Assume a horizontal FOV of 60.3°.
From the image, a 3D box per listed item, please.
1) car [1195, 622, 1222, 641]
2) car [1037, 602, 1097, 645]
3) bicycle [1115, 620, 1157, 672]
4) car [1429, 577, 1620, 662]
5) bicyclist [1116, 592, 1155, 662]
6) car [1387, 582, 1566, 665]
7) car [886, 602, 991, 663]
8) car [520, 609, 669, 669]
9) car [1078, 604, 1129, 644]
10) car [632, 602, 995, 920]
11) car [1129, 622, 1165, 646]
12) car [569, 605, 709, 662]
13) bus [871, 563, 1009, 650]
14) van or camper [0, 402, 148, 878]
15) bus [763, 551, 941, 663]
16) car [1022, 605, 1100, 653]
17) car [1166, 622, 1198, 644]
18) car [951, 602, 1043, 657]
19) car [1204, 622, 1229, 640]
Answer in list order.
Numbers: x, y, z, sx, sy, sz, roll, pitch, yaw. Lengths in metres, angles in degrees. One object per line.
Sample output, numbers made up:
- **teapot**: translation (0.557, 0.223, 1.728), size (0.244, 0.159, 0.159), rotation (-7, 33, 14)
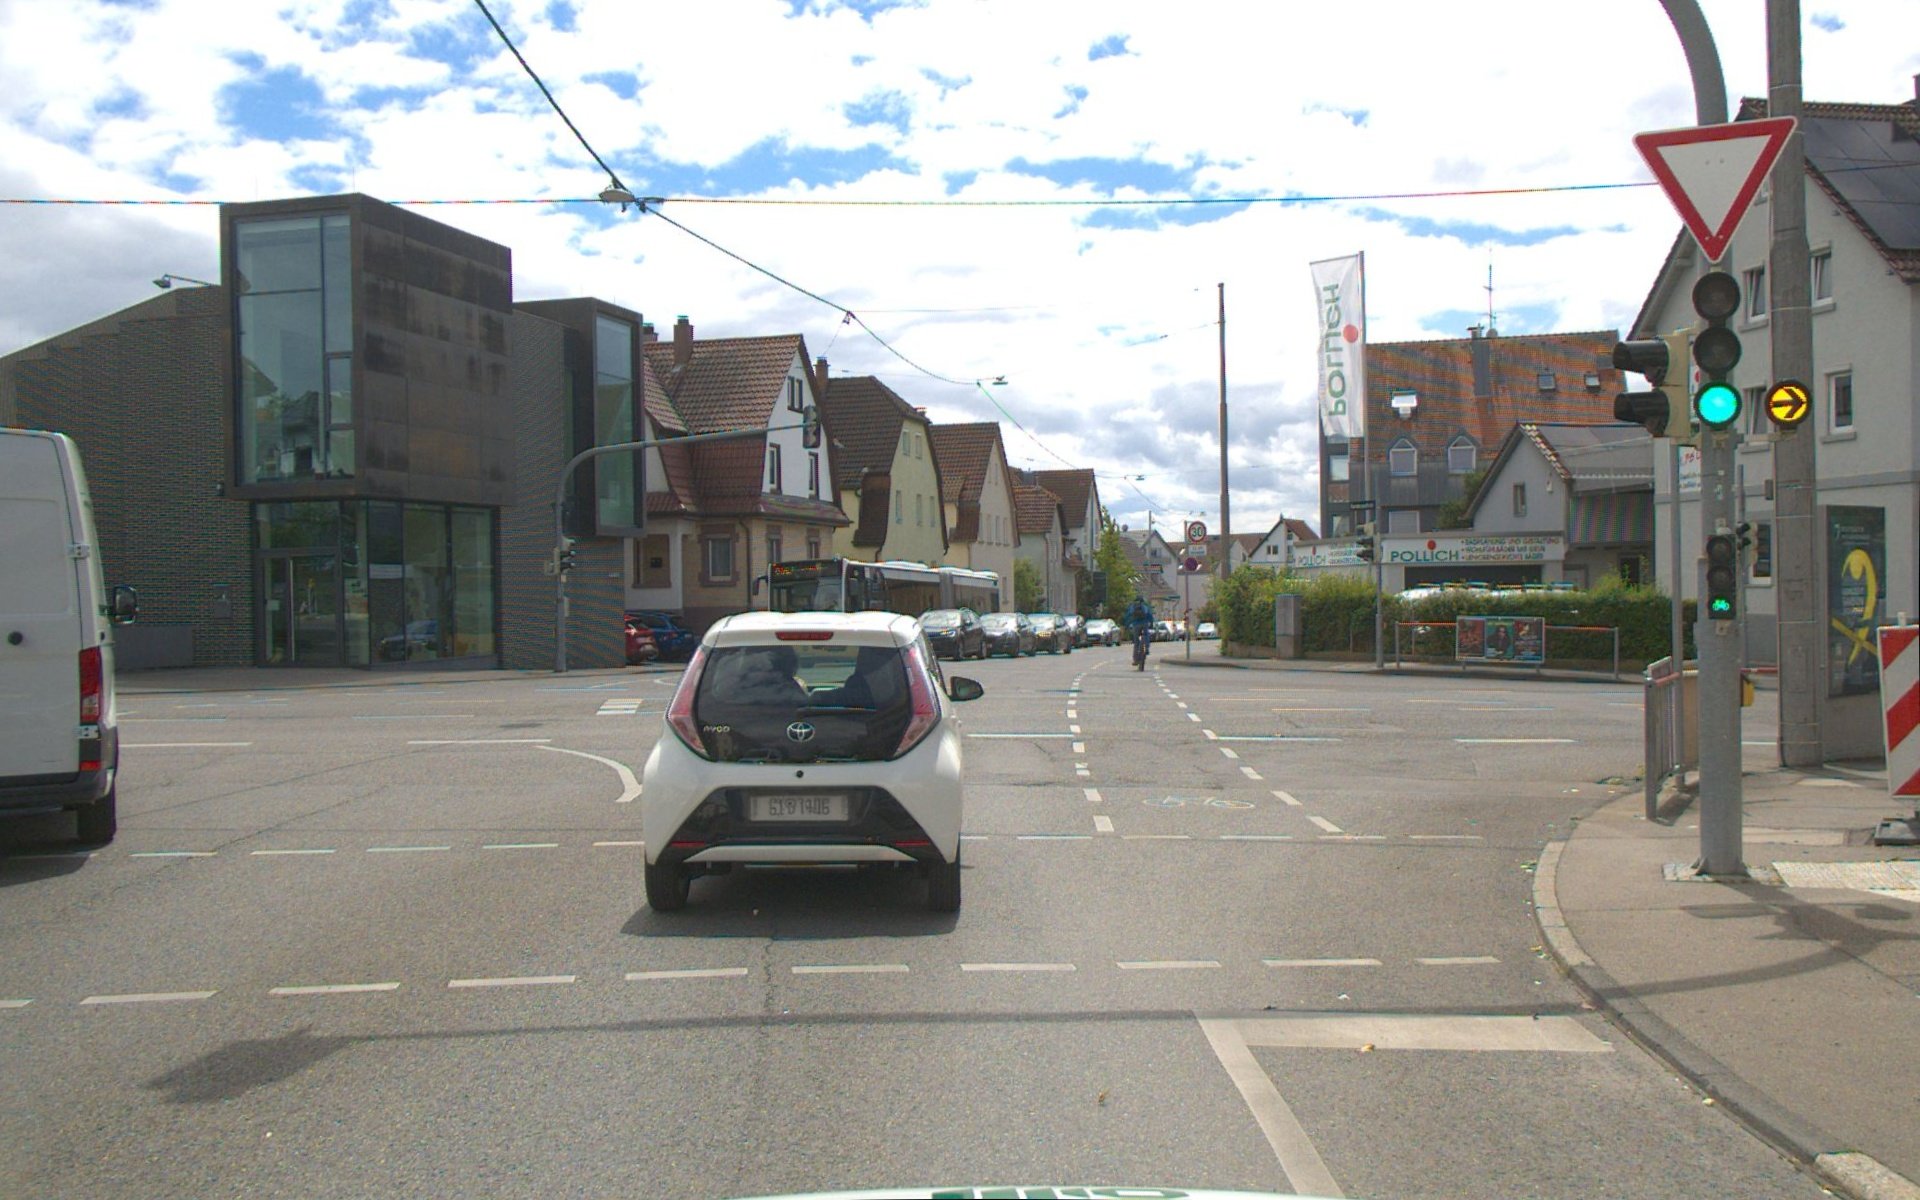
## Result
- **car**: translation (23.366, 2.975, 155.488), size (1.951, 1.668, 4.002), rotation (0, 0, 16)
- **car**: translation (5.320, 1.128, 81.754), size (1.952, 2.049, 4.001), rotation (0, 0, 19)
- **bicycle**: translation (4.178, 1.073, 39.421), size (0.815, 1.184, 2.192), rotation (0, 0, 1)
- **car**: translation (13.602, 0.473, 39.972), size (3.914, 1.982, 1.995), rotation (0, -1, -10)
- **bicyclist**: translation (4.175, 0.645, 39.386), size (0.823, 1.642, 1.083), rotation (0, 0, 1)
- **car**: translation (13.189, 0.591, 42.357), size (3.913, 2.049, 1.996), rotation (0, 0, -9)
- **car**: translation (-0.567, 0.909, 48.140), size (1.951, 1.668, 4.002), rotation (0, 0, 16)
- **car**: translation (-11.014, 1.155, 50.009), size (3.902, 1.668, 2.002), rotation (1, 0, 13)
- **car**: translation (7.740, 1.256, 88.883), size (1.951, 2.049, 4.002), rotation (0, 0, 17)
- **car**: translation (-0.683, 0.758, 9.537), size (1.702, 1.486, 3.532), rotation (0, 0, 0)
- **car**: translation (13.543, 2.456, 119.775), size (1.951, 1.668, 4.002), rotation (0, 0, 16)
- **car**: translation (-10.242, 1.036, 52.932), size (3.902, 1.713, 2.002), rotation (1, 0, 13)
- **bus**: translation (-0.559, 0.216, 60.741), size (2.719, 2.966, 9.198), rotation (0, 0, 15)
- **van or camper**: translation (-6.885, 0.258, 11.471), size (2.083, 2.632, 5.594), rotation (-2, 0, -27)
- **bus**: translation (-3.103, 0.191, 50.873), size (2.719, 3.114, 9.198), rotation (0, 0, 15)
- **car**: translation (3.691, 1.015, 59.926), size (1.951, 1.668, 4.002), rotation (0, 0, 16)
- **car**: translation (18.004, 2.675, 134.188), size (1.951, 1.668, 4.002), rotation (0, 0, 16)
- **car**: translation (1.234, 0.909, 53.348), size (1.951, 1.668, 4.186), rotation (0, 0, 16)
- **car**: translation (25.715, 3.117, 165.841), size (1.951, 1.668, 4.002), rotation (0, 0, 16)
